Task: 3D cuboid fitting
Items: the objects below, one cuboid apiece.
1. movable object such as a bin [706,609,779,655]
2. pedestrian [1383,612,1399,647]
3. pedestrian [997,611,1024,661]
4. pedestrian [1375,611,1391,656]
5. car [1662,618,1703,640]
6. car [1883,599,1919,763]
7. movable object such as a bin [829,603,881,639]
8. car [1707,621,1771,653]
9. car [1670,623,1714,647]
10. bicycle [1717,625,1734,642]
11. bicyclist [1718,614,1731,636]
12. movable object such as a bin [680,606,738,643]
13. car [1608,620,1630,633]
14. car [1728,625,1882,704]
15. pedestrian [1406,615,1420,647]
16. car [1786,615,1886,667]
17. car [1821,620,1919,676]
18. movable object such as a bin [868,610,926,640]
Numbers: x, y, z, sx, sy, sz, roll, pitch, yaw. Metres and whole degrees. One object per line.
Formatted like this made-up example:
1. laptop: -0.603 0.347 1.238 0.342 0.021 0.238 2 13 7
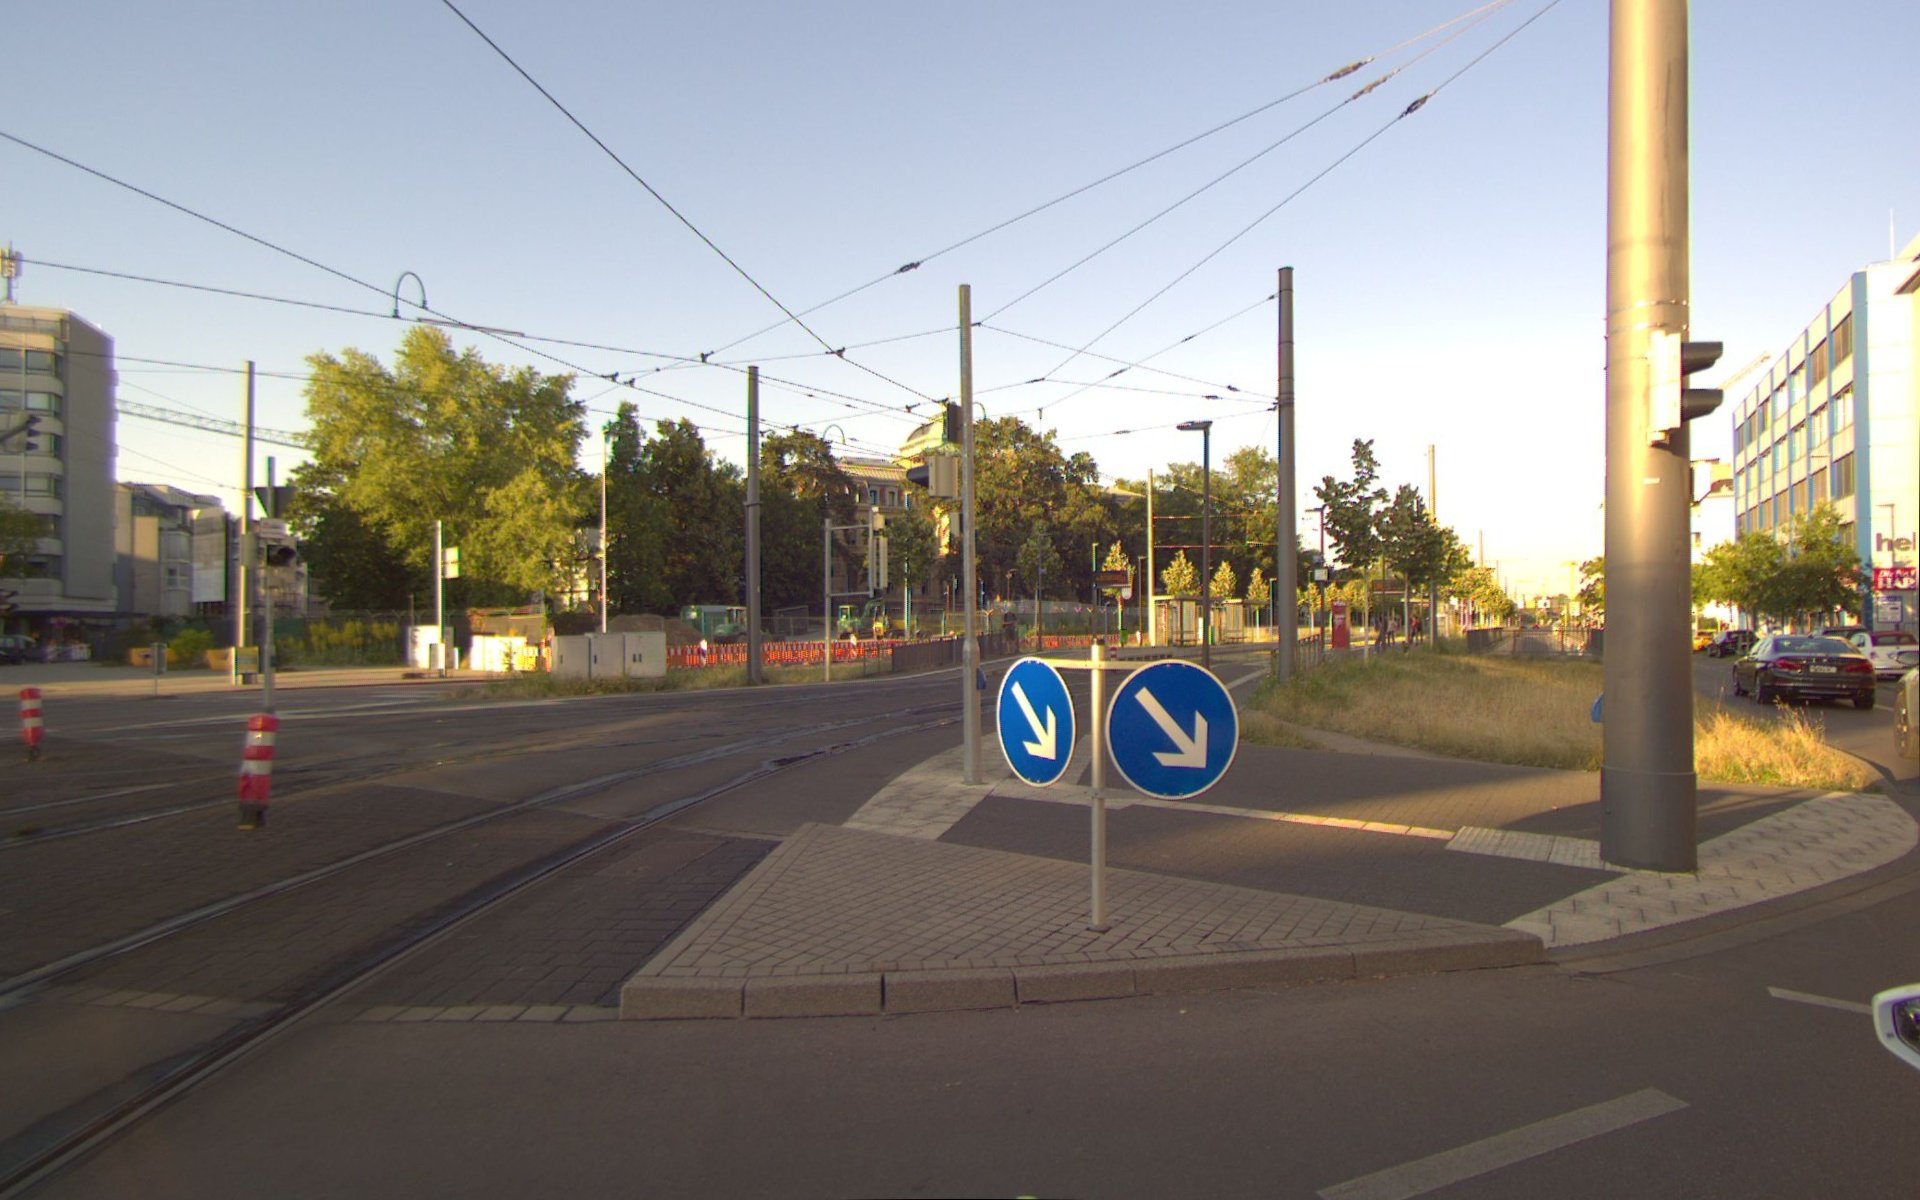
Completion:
1. movable object such as a bin: -13.302 1.932 61.669 1.972 2.742 3.977 -1 -2 43
2. pedestrian: 22.254 1.534 51.870 0.713 1.768 0.636 -1 -1 23
3. pedestrian: 1.847 1.310 36.830 0.684 1.822 0.815 -1 -1 32
4. pedestrian: 17.483 1.382 41.557 0.465 1.810 0.623 -1 -1 37
5. car: 52.097 2.104 72.480 1.792 1.473 4.123 -2 -2 28
6. car: 11.085 0.871 10.326 1.833 1.736 4.178 1 -1 36
7. movable object such as a bin: -8.213 1.672 78.811 1.965 2.742 3.990 -1 -2 32
8. car: 41.037 1.929 53.023 1.792 1.587 4.803 -3 -3 28
9. car: 46.400 2.191 63.729 1.658 1.473 4.124 -1 -2 28
10. bicycle: 54.772 2.400 71.882 0.545 1.144 1.971 -3 -3 28
11. bicyclist: 54.764 1.782 71.949 0.550 1.494 0.622 -4 -3 28
12. movable object such as a bin: -19.043 1.849 76.333 1.965 2.742 3.990 -1 -2 32
13. car: 81.101 3.278 123.671 1.766 1.490 4.440 -4 -3 27
14. car: 18.075 1.309 21.692 1.831 1.482 4.184 1 -1 31
15. pedestrian: 24.940 1.685 55.320 0.623 1.752 0.636 -1 -1 18
16. car: 30.865 1.434 35.528 1.732 1.675 4.520 -4 -3 30
17. car: 28.266 1.457 30.999 1.644 1.537 3.597 -5 -4 27
18. movable object such as a bin: -4.770 1.927 77.070 1.965 2.276 4.927 -1 -2 32
